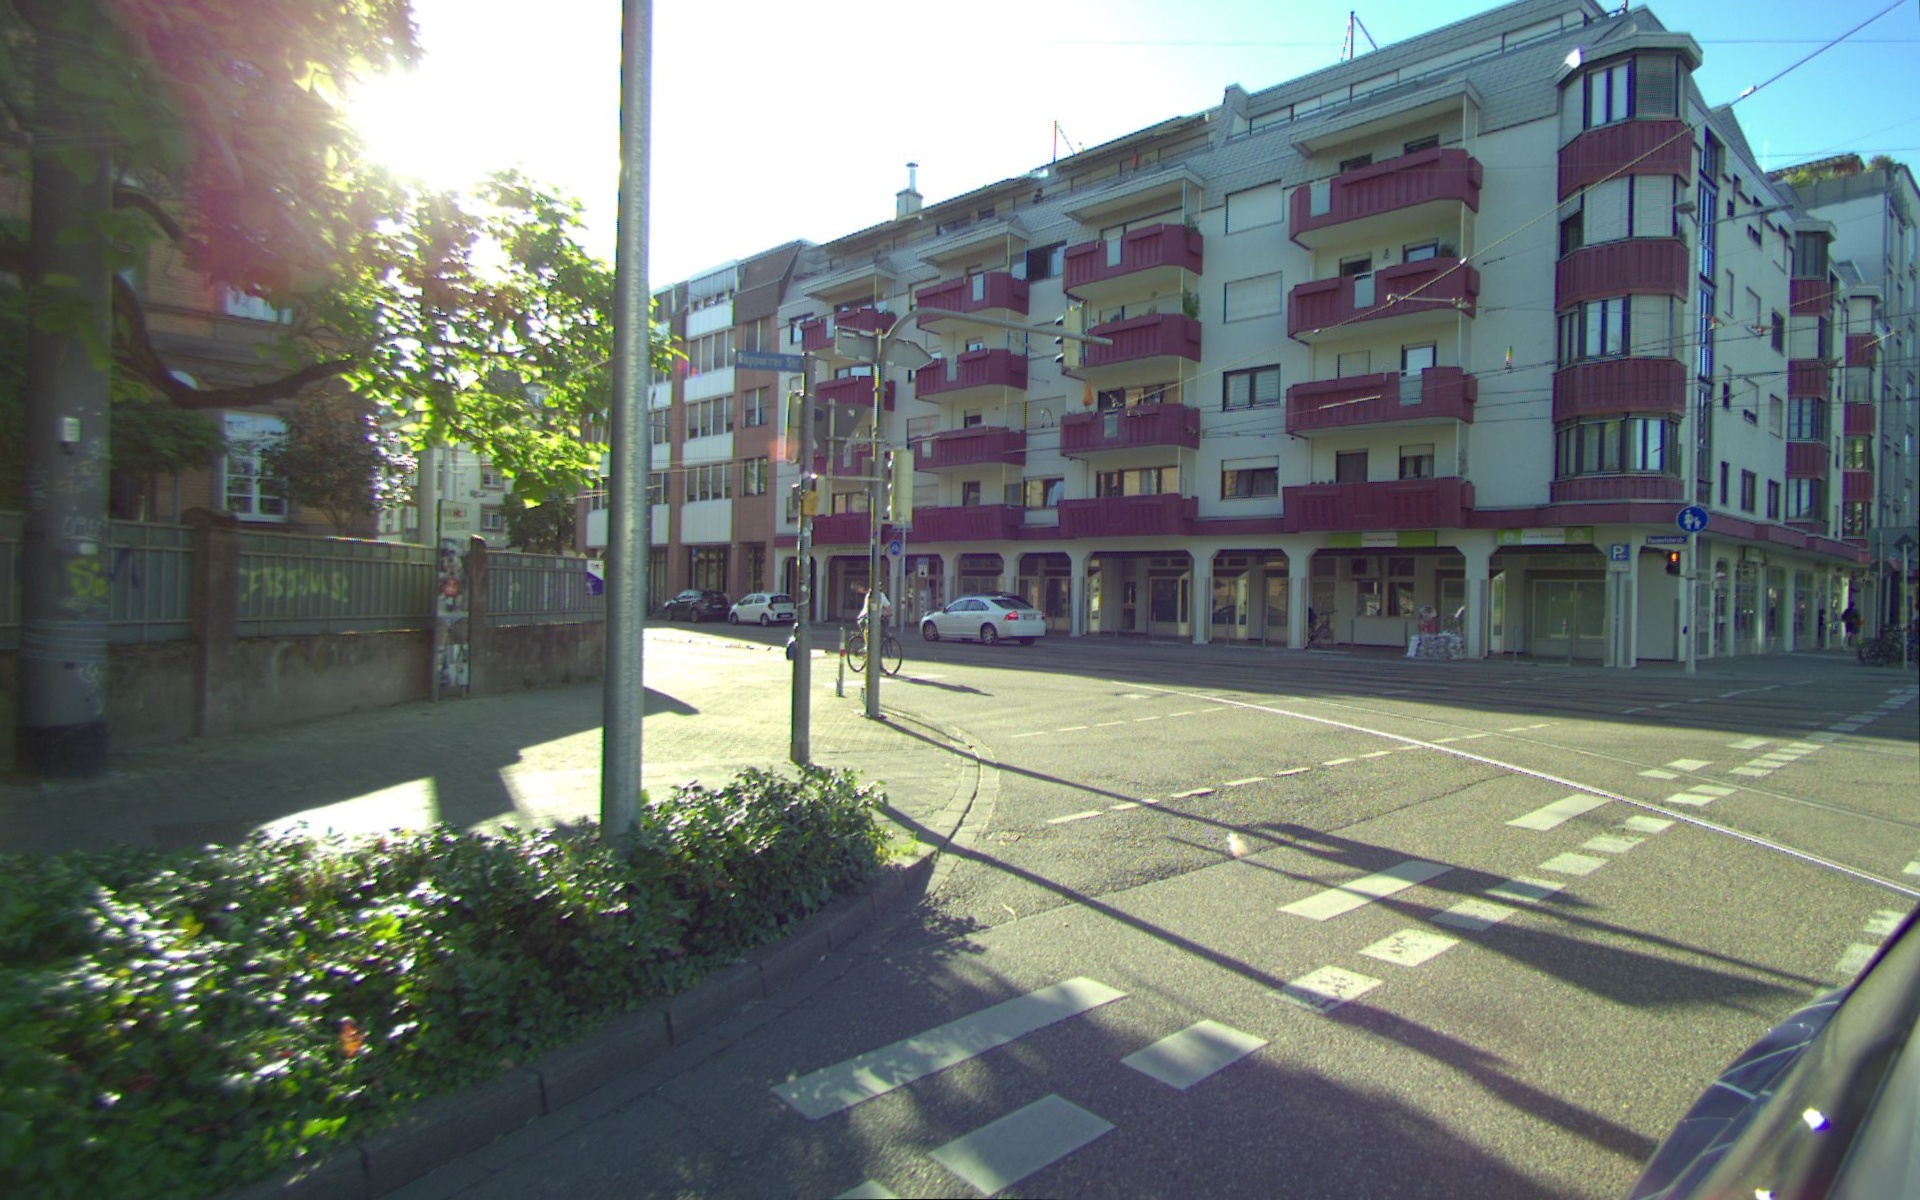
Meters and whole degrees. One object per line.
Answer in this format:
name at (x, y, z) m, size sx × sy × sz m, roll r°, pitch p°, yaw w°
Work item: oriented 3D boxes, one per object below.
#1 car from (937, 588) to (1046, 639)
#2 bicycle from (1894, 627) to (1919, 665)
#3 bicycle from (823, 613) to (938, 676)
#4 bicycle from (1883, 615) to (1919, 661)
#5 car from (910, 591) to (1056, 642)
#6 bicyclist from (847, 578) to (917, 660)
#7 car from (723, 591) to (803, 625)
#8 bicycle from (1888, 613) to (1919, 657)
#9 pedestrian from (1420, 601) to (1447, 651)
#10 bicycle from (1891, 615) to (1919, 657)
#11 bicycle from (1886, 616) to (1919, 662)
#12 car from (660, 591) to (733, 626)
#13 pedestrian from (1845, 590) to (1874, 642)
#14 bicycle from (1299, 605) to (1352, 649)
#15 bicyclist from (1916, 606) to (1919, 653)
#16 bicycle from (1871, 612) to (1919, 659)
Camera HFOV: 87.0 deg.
car at (1.081, 0.474, 36.074) m, size 1.708 × 1.705 × 3.900 m, roll 1°, pitch -1°, yaw -41°
bicycle at (32.397, 1.530, 33.232) m, size 2.548 × 1.198 × 0.963 m, roll 1°, pitch 0°, yaw -1°
bicycle at (-1.566, 0.834, 19.666) m, size 2.320 × 1.133 × 0.834 m, roll 0°, pitch -1°, yaw 40°
bicycle at (26.436, 1.040, 27.589) m, size 0.487 × 1.236 × 1.836 m, roll 1°, pitch -1°, yaw -36°
car at (0.628, 0.486, 31.749) m, size 1.822 × 1.474 × 4.893 m, roll 1°, pitch -1°, yaw -40°
bicyclist at (-1.510, 0.356, 19.636) m, size 0.923 × 1.528 × 0.998 m, roll 0°, pitch -1°, yaw 39°
car at (-9.021, 0.370, 46.177) m, size 1.880 × 1.489 × 3.992 m, roll 1°, pitch -1°, yaw -41°
bicycle at (27.134, 0.973, 28.111) m, size 0.581 × 1.215 × 1.978 m, roll 1°, pitch 0°, yaw -43°
pedestrian at (13.001, 0.706, 27.803) m, size 0.656 × 1.367 × 0.651 m, roll 0°, pitch -1°, yaw 23°
bicycle at (27.588, 1.026, 28.523) m, size 0.562 × 1.185 × 1.942 m, roll 1°, pitch 0°, yaw -42°
bicycle at (26.035, 1.056, 27.190) m, size 0.486 × 1.215 × 1.628 m, roll 1°, pitch 0°, yaw -35°
car at (-12.993, 0.432, 49.795) m, size 1.858 × 1.639 × 3.992 m, roll 1°, pitch -1°, yaw -41°
pedestrian at (33.487, 0.591, 37.668) m, size 0.787 × 1.881 × 0.724 m, roll 1°, pitch -1°, yaw -40°
bicycle at (10.772, 0.777, 29.896) m, size 0.603 × 1.214 × 1.801 m, roll 1°, pitch 0°, yaw -12°
bicyclist at (32.440, 0.991, 33.239) m, size 1.058 × 1.559 × 1.060 m, roll 1°, pitch 0°, yaw -1°
bicycle at (25.402, 0.937, 26.810) m, size 0.535 × 1.214 × 1.808 m, roll 0°, pitch 0°, yaw -35°
